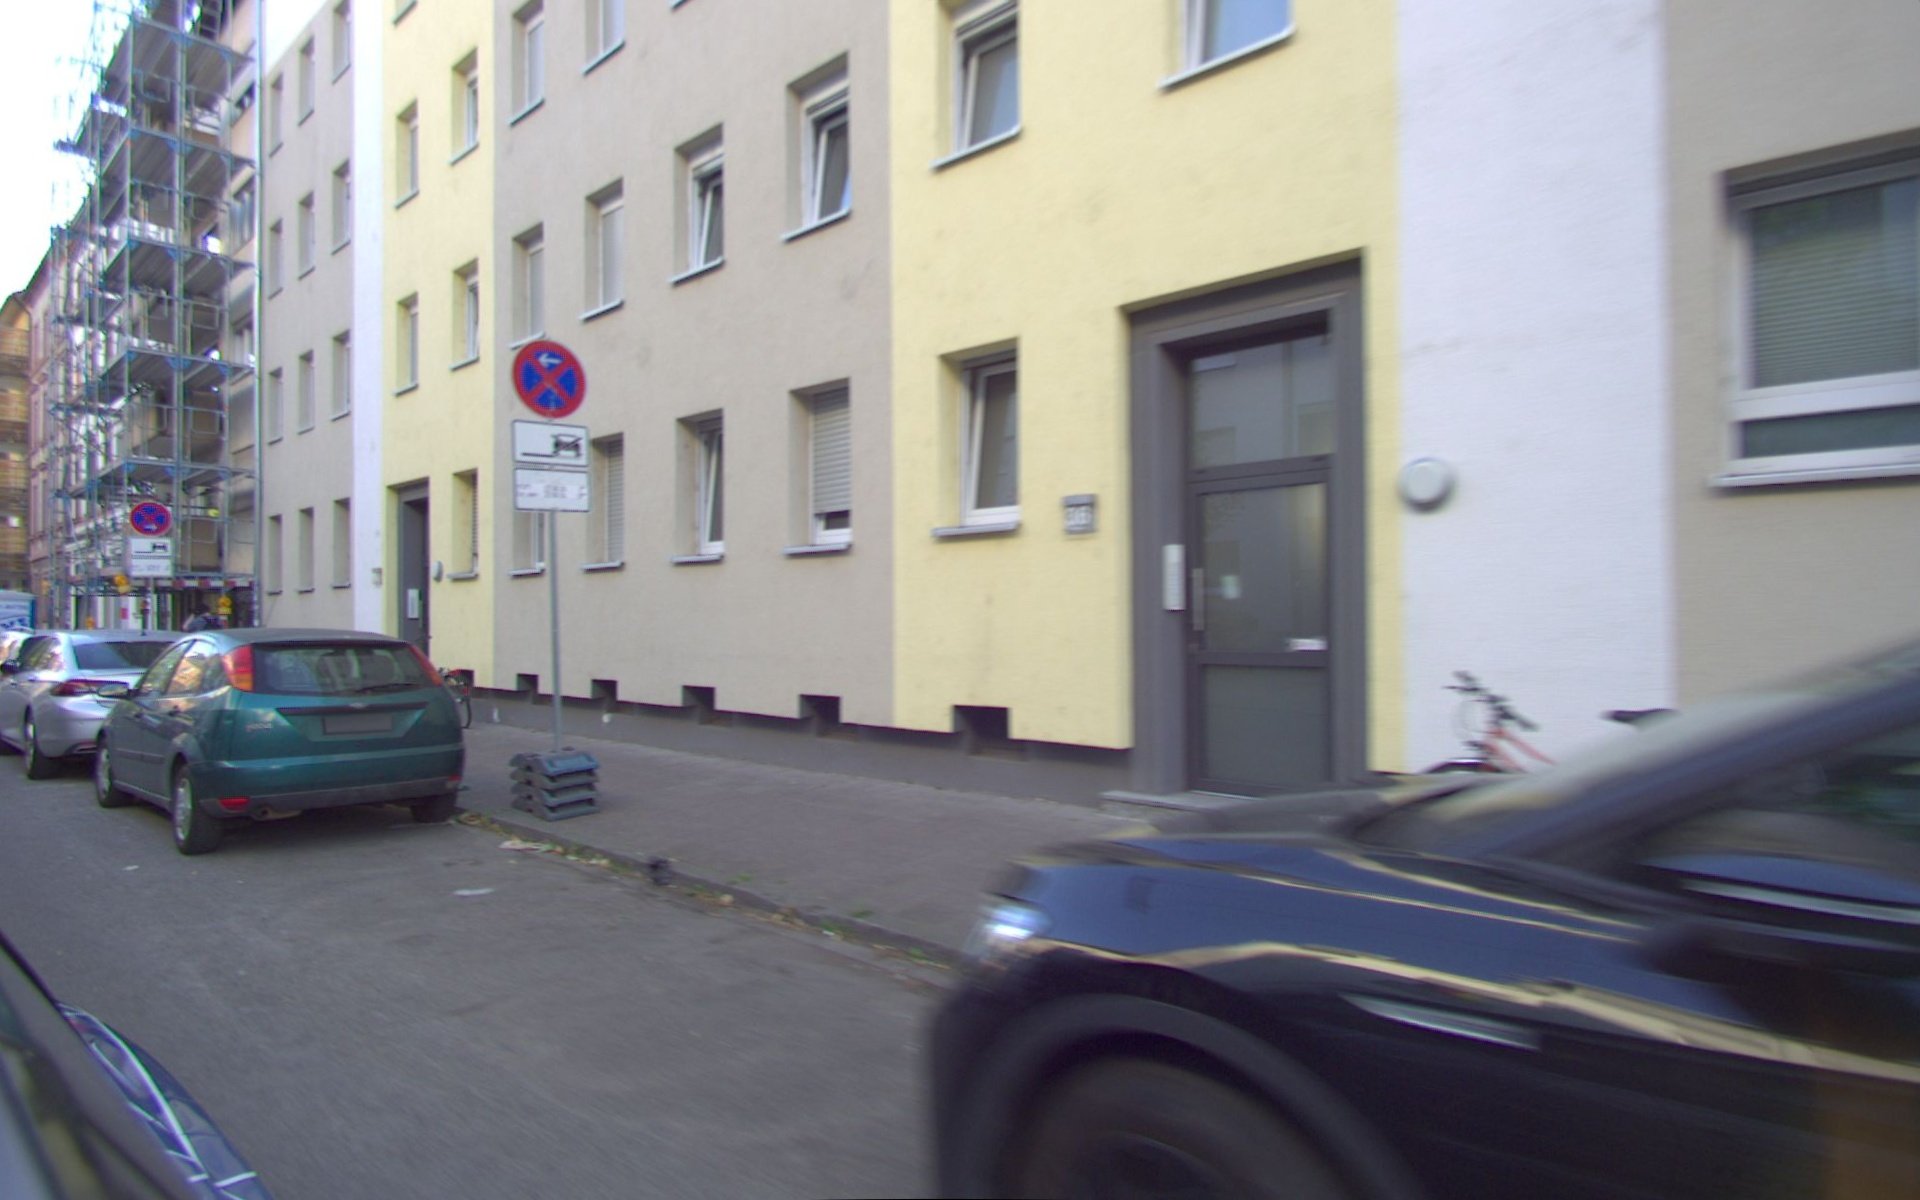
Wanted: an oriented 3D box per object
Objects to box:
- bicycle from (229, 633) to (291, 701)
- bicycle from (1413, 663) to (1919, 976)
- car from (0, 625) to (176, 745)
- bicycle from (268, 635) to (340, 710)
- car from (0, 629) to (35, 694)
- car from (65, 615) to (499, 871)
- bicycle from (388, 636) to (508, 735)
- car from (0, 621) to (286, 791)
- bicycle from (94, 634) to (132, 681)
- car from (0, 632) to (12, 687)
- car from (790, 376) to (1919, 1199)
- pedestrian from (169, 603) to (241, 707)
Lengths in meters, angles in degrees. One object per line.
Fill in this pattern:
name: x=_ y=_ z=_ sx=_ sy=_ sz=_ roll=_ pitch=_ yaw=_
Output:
bicycle: x=-13.036 y=1.221 z=18.830 sx=1.814 sy=1.177 sz=0.400 roll=-1 pitch=1 yaw=39
bicycle: x=2.992 y=0.849 z=4.455 sx=1.751 sy=1.082 sz=0.446 roll=-2 pitch=-1 yaw=42
car: x=-13.280 y=1.142 z=14.779 sx=4.613 sy=1.500 sz=1.903 roll=-1 pitch=-3 yaw=40
bicycle: x=-11.060 y=1.193 z=17.041 sx=1.730 sy=1.177 sz=0.473 roll=-1 pitch=1 yaw=39
car: x=-24.032 y=1.451 z=24.421 sx=3.996 sy=1.516 sz=1.973 roll=-1 pitch=-3 yaw=40
car: x=-5.569 y=0.913 z=8.075 sx=4.418 sy=1.500 sz=1.760 roll=-1 pitch=-3 yaw=41
bicycle: x=-6.597 y=1.060 z=13.001 sx=1.922 sy=1.177 sz=0.604 roll=-1 pitch=-3 yaw=39
car: x=-9.308 y=1.011 z=11.169 sx=4.614 sy=1.500 sz=1.903 roll=-1 pitch=-3 yaw=41
bicycle: x=-23.424 y=1.568 z=28.017 sx=0.483 sy=1.177 sz=1.687 roll=-3 pitch=1 yaw=-30
car: x=-27.615 y=1.595 z=27.653 sx=3.996 sy=1.459 sz=1.973 roll=-1 pitch=-3 yaw=40
car: x=1.956 y=0.637 z=1.407 sx=4.465 sy=1.676 sz=1.901 roll=-2 pitch=-4 yaw=40
pedestrian: x=-13.449 y=0.965 z=18.025 sx=1.091 sy=1.774 sz=0.780 roll=-2 pitch=-3 yaw=41
